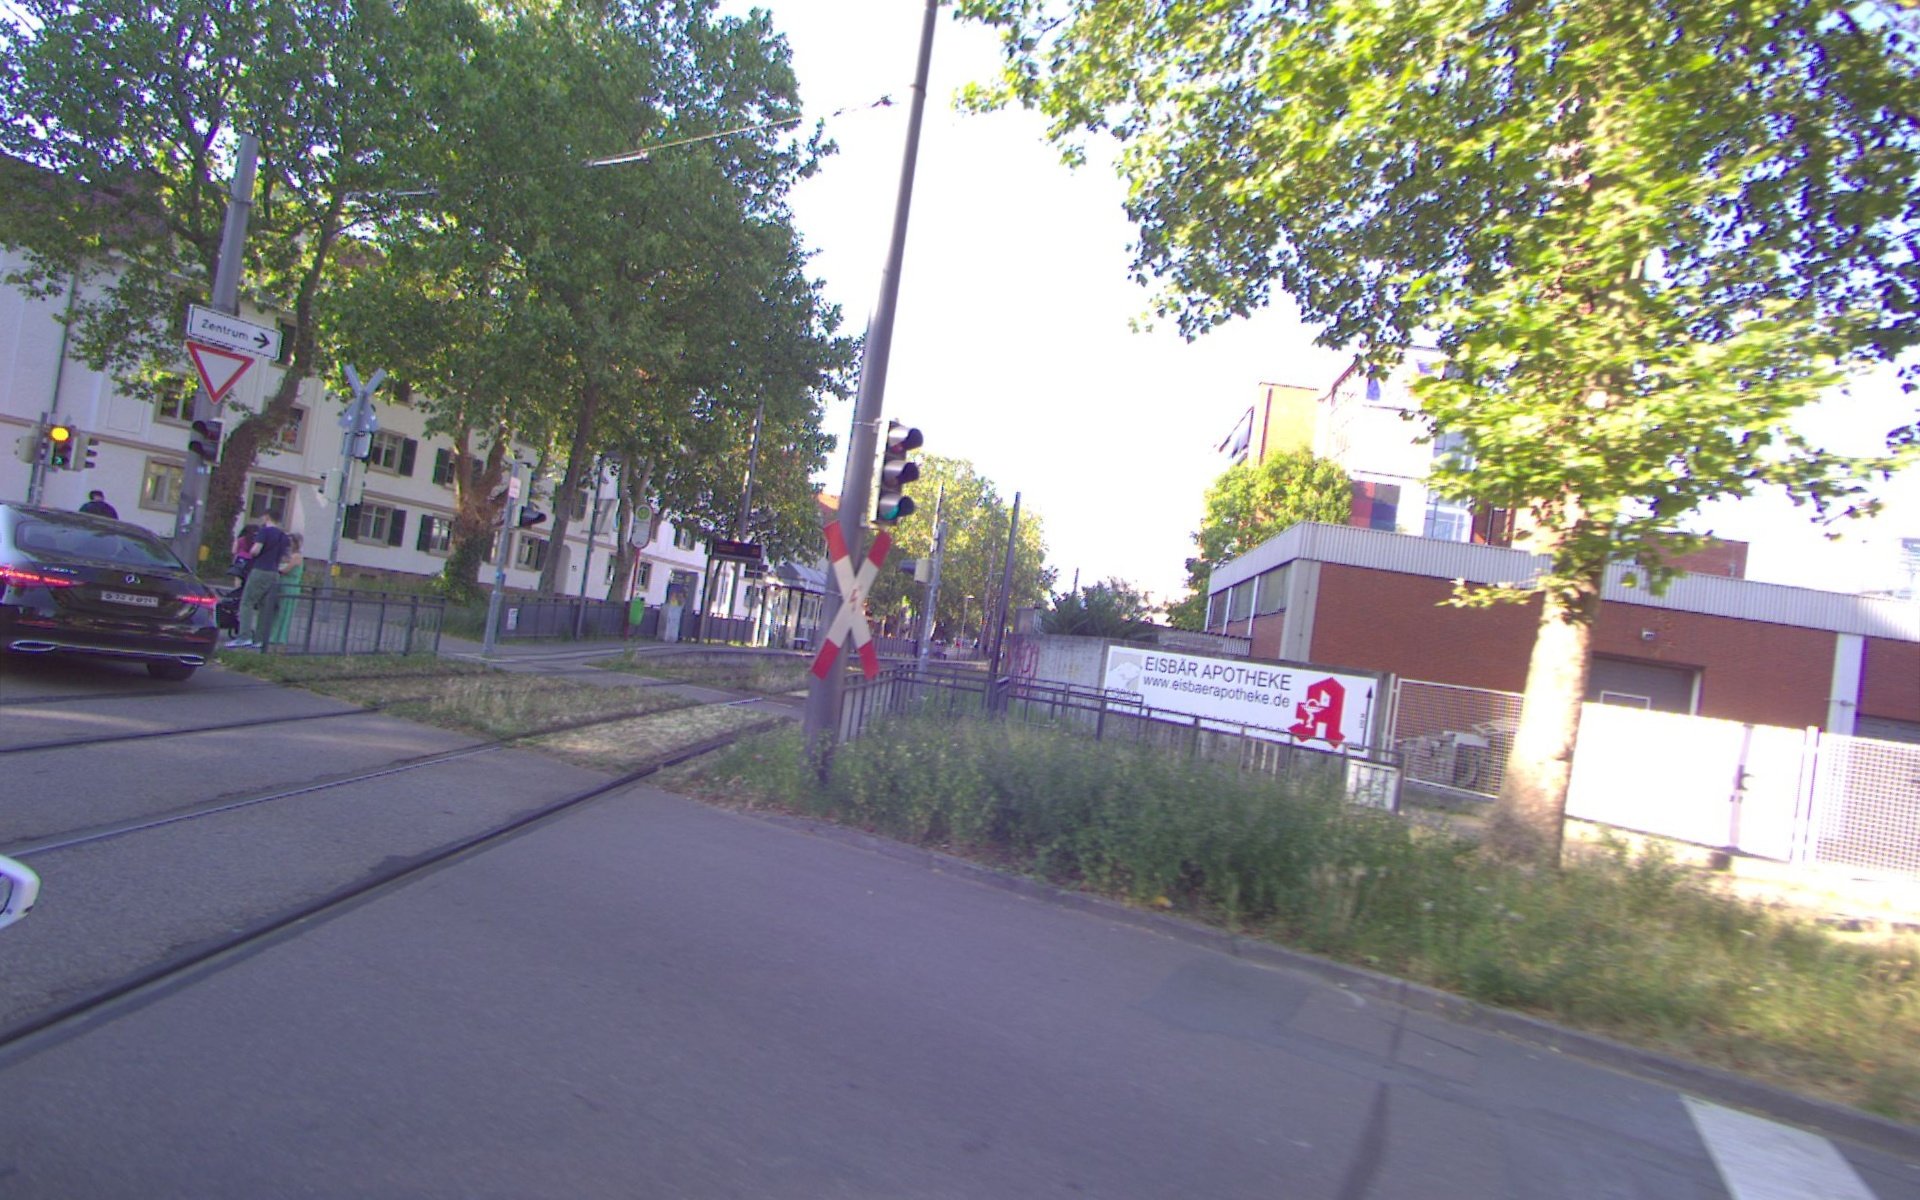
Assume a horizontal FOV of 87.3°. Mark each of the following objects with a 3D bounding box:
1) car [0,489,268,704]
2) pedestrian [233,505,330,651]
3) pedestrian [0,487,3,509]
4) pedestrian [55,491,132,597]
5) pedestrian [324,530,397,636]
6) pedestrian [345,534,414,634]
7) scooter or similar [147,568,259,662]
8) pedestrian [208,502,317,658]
[{"bbox_3d":[-8.825,-0.190,9.657,4.308,1.507,1.894,9,-2,32],"label":"car"},{"bbox_3d":[-9.667,-0.309,14.341,0.695,1.939,0.684,6,-3,31],"label":"pedestrian"},{"bbox_3d":[-23.380,-1.782,23.780,0.825,1.939,0.707,6,-3,32],"label":"pedestrian"},{"bbox_3d":[-17.171,-1.111,19.938,0.825,1.939,0.707,6,-3,32],"label":"pedestrian"},{"bbox_3d":[-11.814,-0.335,19.828,0.825,1.939,0.707,6,-3,32],"label":"pedestrian"},{"bbox_3d":[-12.151,-0.338,21.070,0.825,1.939,0.707,6,-3,32],"label":"pedestrian"},{"bbox_3d":[-10.225,0.212,13.603,0.796,1.116,0.831,7,-3,30],"label":"scooter or similar"},{"bbox_3d":[-9.304,-0.258,13.437,0.672,1.939,0.708,7,-2,25],"label":"pedestrian"}]
